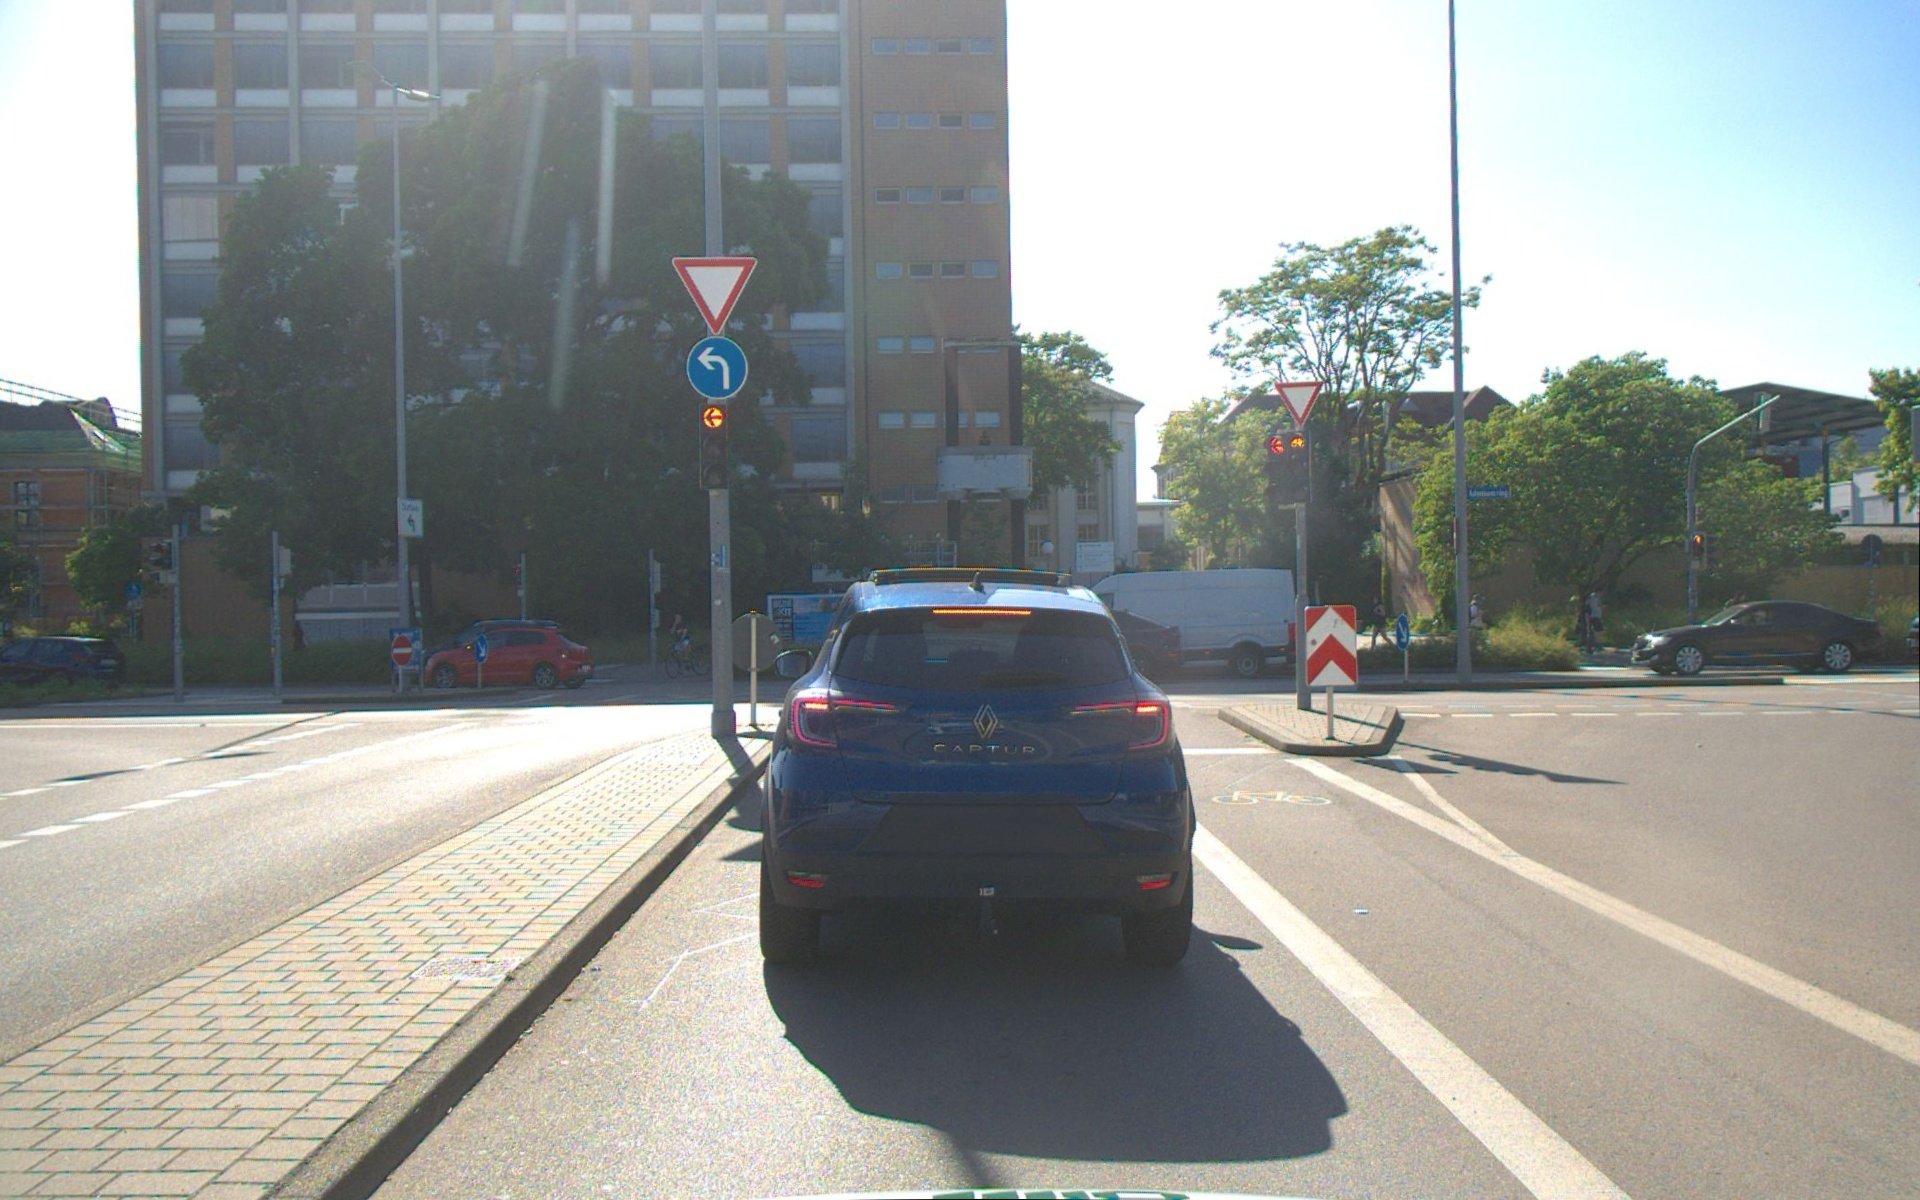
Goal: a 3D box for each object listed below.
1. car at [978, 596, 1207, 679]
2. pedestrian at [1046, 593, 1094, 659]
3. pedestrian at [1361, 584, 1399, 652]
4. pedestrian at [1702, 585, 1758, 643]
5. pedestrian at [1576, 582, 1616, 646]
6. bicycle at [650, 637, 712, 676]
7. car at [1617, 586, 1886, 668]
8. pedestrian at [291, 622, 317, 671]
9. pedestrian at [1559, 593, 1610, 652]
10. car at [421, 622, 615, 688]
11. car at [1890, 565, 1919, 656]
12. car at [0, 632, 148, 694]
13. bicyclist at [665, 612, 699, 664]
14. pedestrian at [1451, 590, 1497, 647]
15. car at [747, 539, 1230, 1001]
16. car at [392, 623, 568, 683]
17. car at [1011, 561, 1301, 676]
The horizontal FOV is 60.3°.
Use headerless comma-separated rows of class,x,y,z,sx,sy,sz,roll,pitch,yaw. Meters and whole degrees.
car,2.961,0.853,36.770,4.923,1.702,2.001,1,-3,6
pedestrian,3.247,0.761,48.640,1.269,1.888,0.967,-1,0,10
pedestrian,11.846,0.504,46.684,0.912,1.888,0.808,-1,0,8
pedestrian,20.994,0.381,45.113,1.122,1.547,0.942,-1,0,5
pedestrian,17.785,0.389,46.251,0.943,1.762,0.926,-1,0,17
bicycle,-7.731,1.560,45.938,0.685,1.025,1.865,-4,-3,28
car,16.836,0.559,35.394,4.740,1.609,2.103,-1,0,4
pedestrian,-21.659,1.533,54.620,0.522,1.598,0.555,-1,0,24
pedestrian,16.655,0.589,44.121,1.052,1.547,0.879,-1,0,4
car,-10.535,1.299,39.541,3.958,1.464,2.067,-1,0,9
car,24.241,0.193,37.647,4.892,2.049,2.074,-1,0,8
car,-23.238,1.602,42.389,3.817,1.474,2.103,-1,0,10
bicyclist,-7.727,1.058,45.952,0.634,1.437,0.638,-3,-3,28
pedestrian,14.178,0.500,45.609,1.062,1.547,0.931,-1,0,9
car,0.051,0.615,8.002,1.758,1.684,3.852,1,0,-2
car,-12.678,1.391,43.765,3.958,1.464,2.067,-1,0,14
car,4.848,0.448,40.527,6.786,2.591,3.015,-1,0,10
